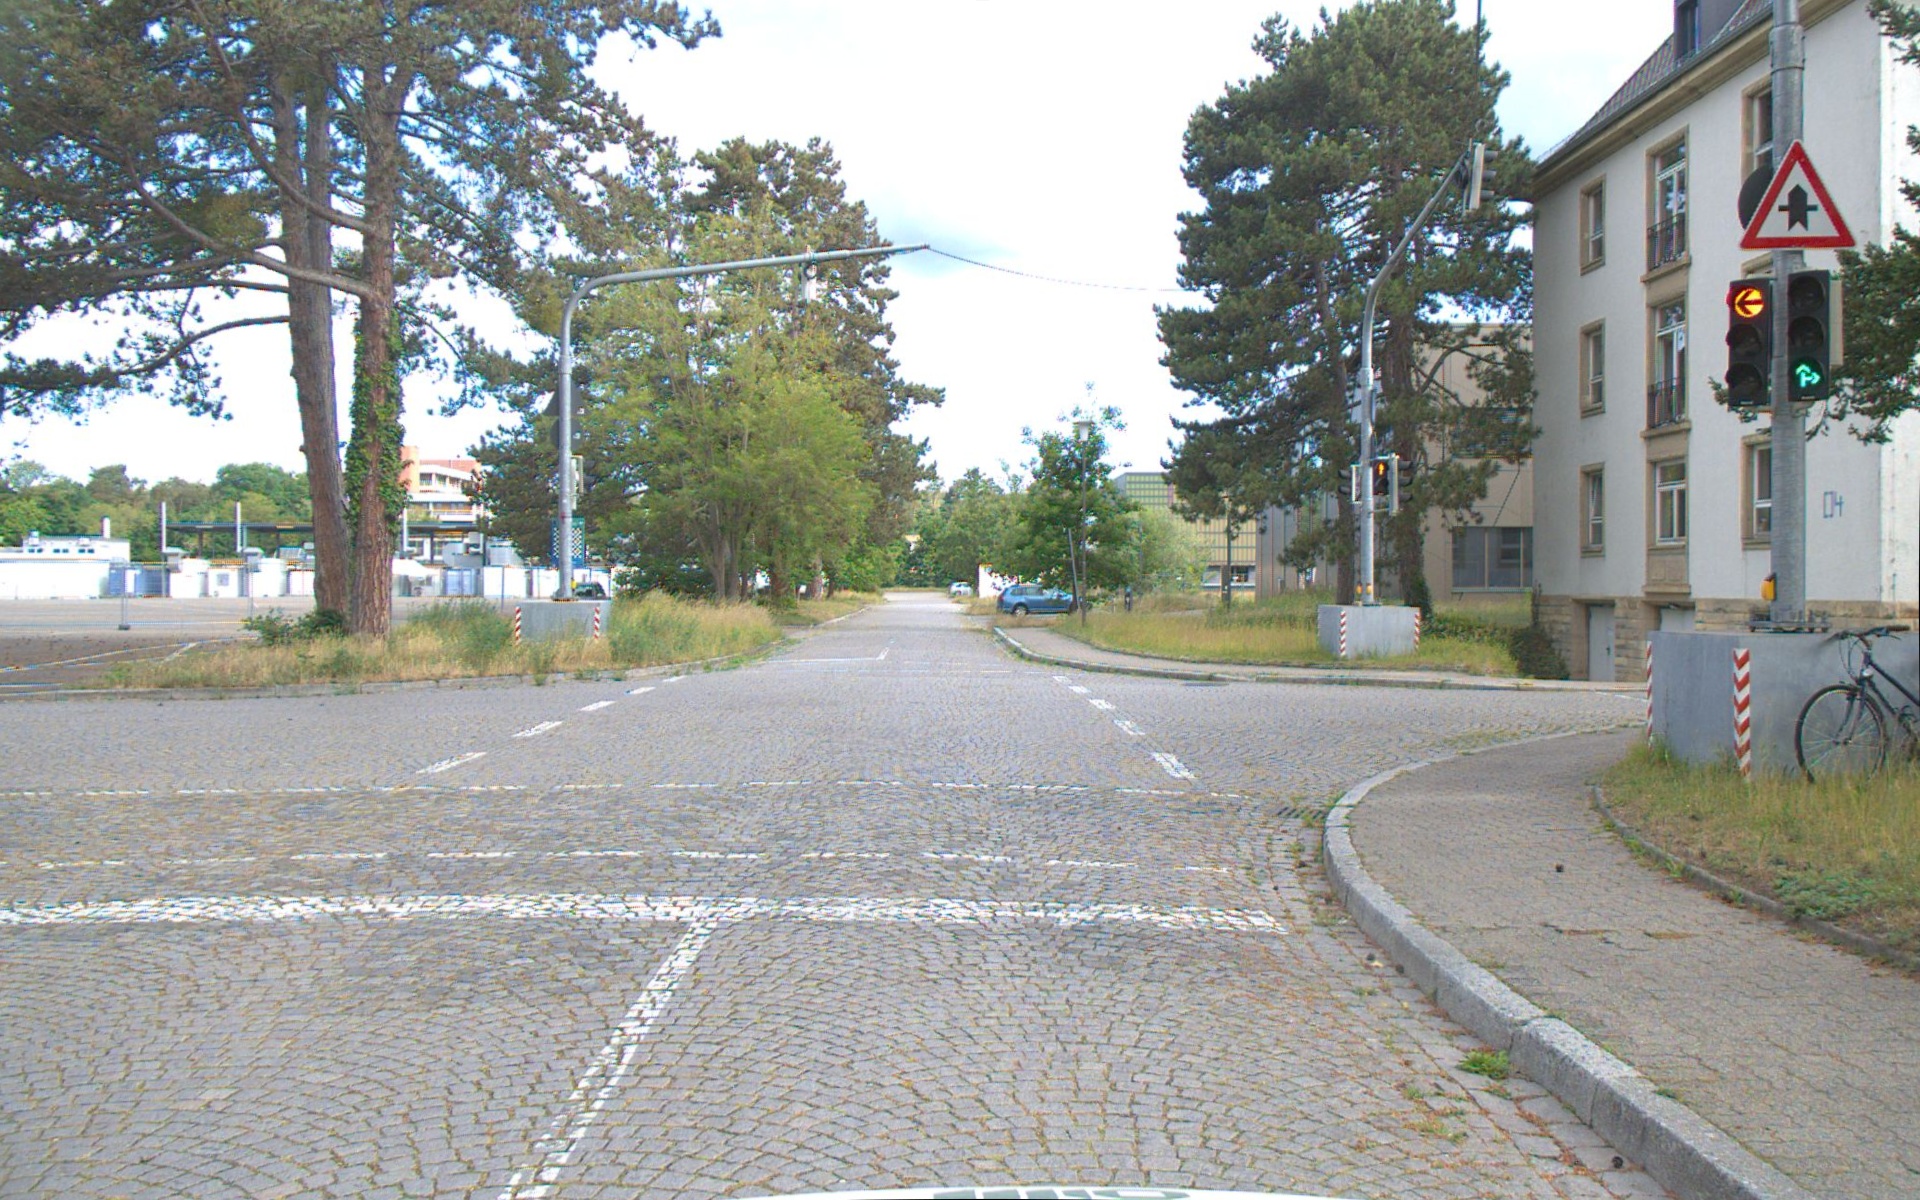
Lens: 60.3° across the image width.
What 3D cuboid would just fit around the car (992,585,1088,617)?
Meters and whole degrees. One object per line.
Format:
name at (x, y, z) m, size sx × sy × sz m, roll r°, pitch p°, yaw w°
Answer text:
car at (3.686, 0.027, 76.368) m, size 4.258 × 1.447 × 1.999 m, roll 0°, pitch 1°, yaw -4°

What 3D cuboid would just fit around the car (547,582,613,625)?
car at (-13.981, 0.099, 61.014) m, size 1.580 × 1.513 × 3.999 m, roll 0°, pitch 1°, yaw -1°

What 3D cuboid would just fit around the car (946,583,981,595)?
car at (0.397, -1.291, 193.374) m, size 3.911 × 1.422 × 1.997 m, roll 0°, pitch 1°, yaw -7°

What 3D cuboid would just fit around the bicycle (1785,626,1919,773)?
bicycle at (6.202, 0.615, 10.482) m, size 1.665 × 0.889 × 0.573 m, roll 0°, pitch 1°, yaw -1°
